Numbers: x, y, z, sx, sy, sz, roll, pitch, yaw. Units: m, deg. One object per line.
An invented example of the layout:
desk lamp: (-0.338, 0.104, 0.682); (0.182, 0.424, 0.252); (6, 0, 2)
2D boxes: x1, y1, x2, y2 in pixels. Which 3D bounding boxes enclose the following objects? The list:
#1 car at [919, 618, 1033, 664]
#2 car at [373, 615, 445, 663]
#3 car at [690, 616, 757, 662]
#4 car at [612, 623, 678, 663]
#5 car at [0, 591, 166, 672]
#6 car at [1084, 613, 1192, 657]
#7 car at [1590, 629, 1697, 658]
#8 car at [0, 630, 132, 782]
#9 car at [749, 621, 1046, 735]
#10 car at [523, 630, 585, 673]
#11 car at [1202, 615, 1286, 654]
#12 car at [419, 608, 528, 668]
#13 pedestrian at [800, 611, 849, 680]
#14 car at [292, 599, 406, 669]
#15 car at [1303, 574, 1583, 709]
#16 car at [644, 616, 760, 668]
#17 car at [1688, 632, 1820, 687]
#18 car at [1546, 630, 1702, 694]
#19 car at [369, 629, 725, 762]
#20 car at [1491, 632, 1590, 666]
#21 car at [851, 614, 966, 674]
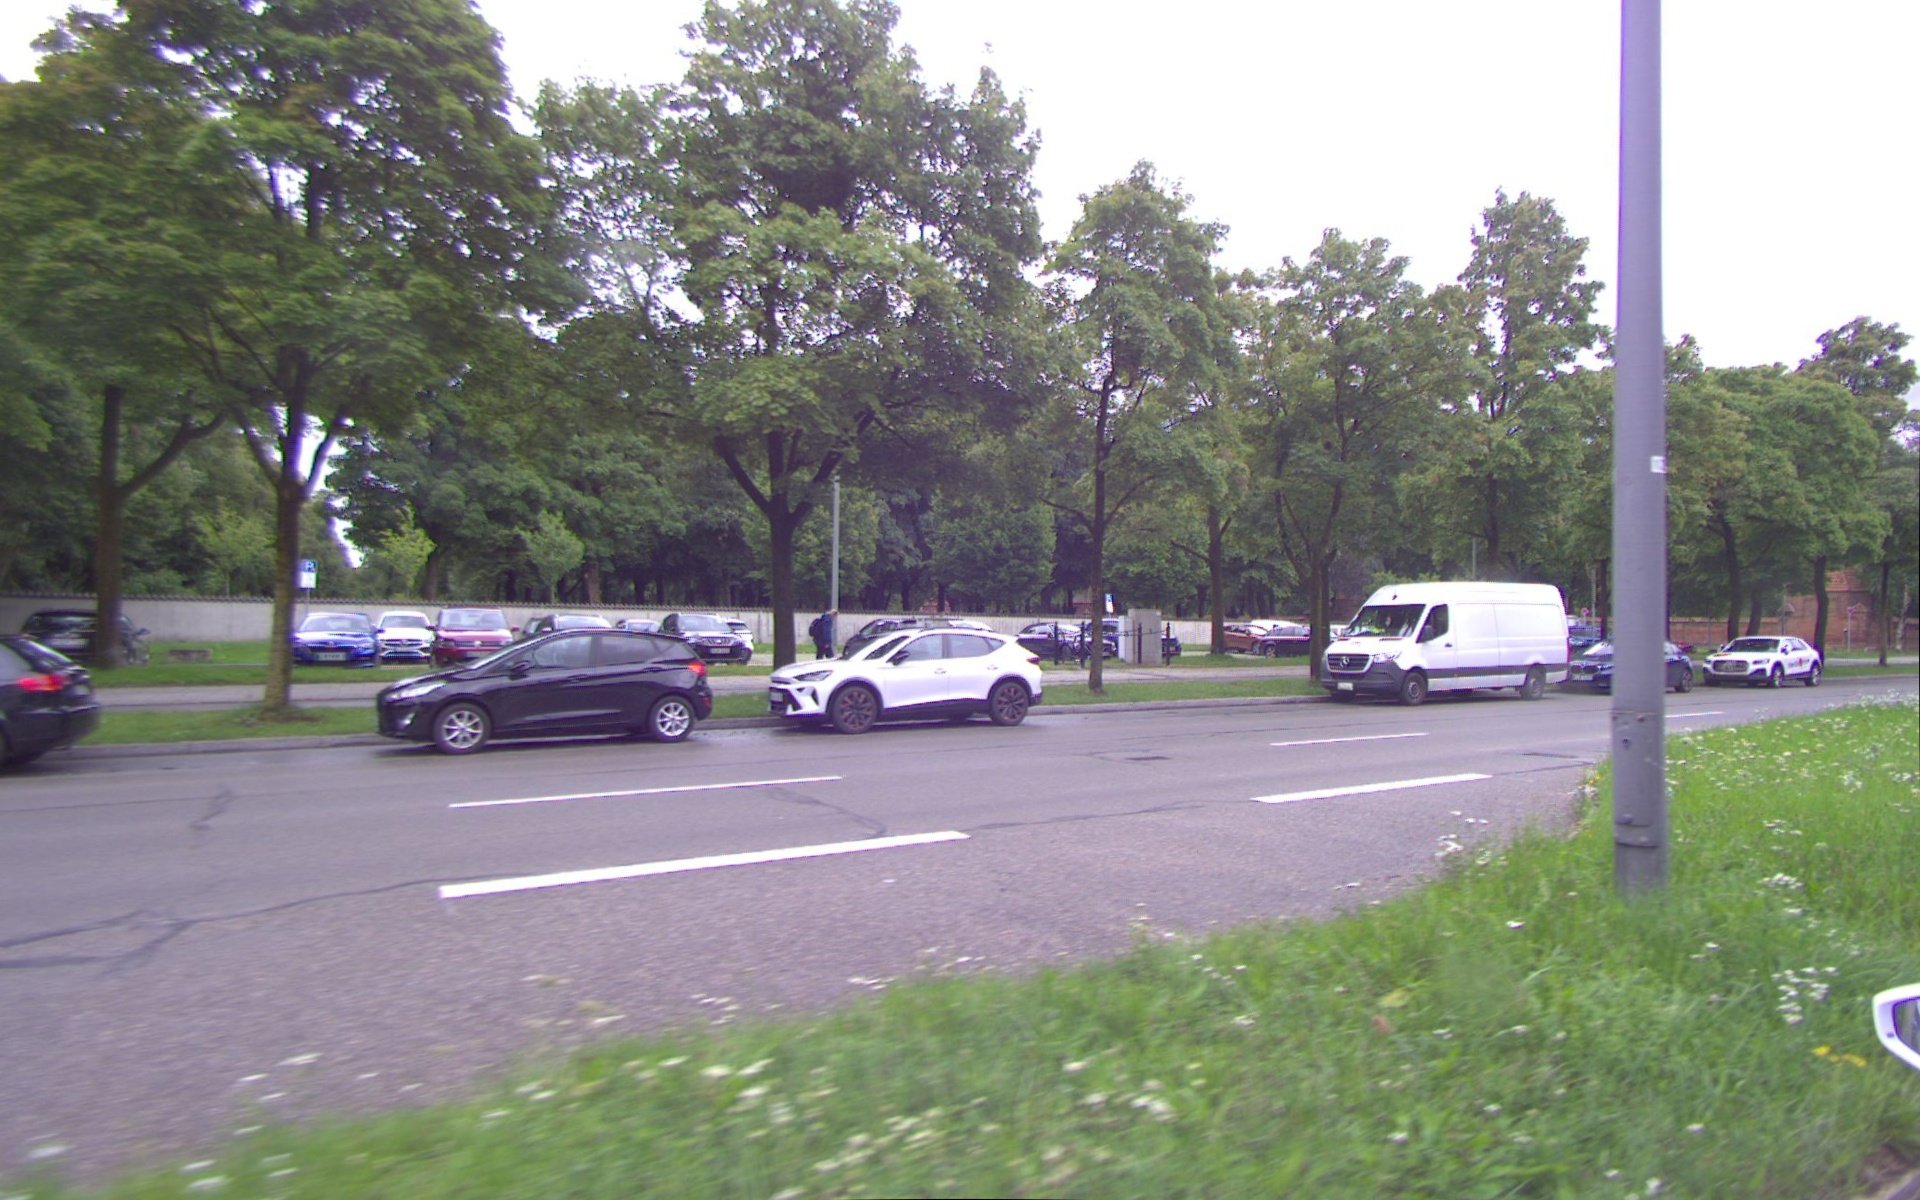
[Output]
car: (0.436, 1.286, 32.189); (1.794, 1.356, 3.965); (1, -1, -32)
car: (-18.538, 1.264, 33.747); (1.977, 1.461, 4.484); (1, -1, -30)
car: (-9.270, 1.473, 39.158); (1.746, 1.675, 3.975); (1, -1, -25)
car: (-11.834, 1.587, 37.640); (1.852, 1.391, 3.975); (1, -1, -25)
car: (-17.659, 0.602, 20.358); (1.978, 1.461, 4.112); (1, -1, -32)
car: (6.155, 1.207, 35.197); (1.790, 1.457, 3.975); (1, -1, -25)
car: (36.100, 2.298, 53.144); (1.738, 1.410, 4.394); (1, -1, -29)
car: (-10.709, 1.007, 9.621); (3.950, 1.428, 1.814); (1, -3, -28)
car: (-0.910, 1.177, 15.558); (4.251, 1.547, 1.812); (3, -3, -32)
car: (-14.518, 1.781, 35.797); (1.852, 1.391, 3.975); (1, -1, -25)
car: (16.056, 1.925, 56.954); (1.977, 2.061, 4.484); (1, -1, -30)
car: (-11.671, 0.870, 23.990); (1.724, 1.301, 3.961); (1, -1, -35)
pedestrian: (-3.034, 1.017, 22.528); (0.846, 1.515, 0.791); (1, -1, -30)
car: (-14.120, 0.736, 23.104); (1.980, 1.461, 3.961); (1, -1, -35)
car: (10.991, 0.910, 22.607); (7.022, 2.678, 2.130); (1, -2, -31)
car: (-7.017, 1.091, 27.069); (1.674, 1.275, 3.959); (1, -1, -36)
car: (23.997, 1.801, 30.329); (4.096, 1.510, 1.847); (3, -2, -32)
car: (17.517, 1.624, 26.459); (4.205, 1.510, 1.847); (3, -2, -32)
car: (-5.254, 1.125, 12.942); (3.960, 1.466, 1.810); (2, -3, -35)
car: (28.561, 2.394, 49.518); (1.968, 1.524, 3.986); (1, -1, -17)
car: (-1.553, 1.210, 28.825); (1.792, 1.591, 3.971); (1, -1, -28)
